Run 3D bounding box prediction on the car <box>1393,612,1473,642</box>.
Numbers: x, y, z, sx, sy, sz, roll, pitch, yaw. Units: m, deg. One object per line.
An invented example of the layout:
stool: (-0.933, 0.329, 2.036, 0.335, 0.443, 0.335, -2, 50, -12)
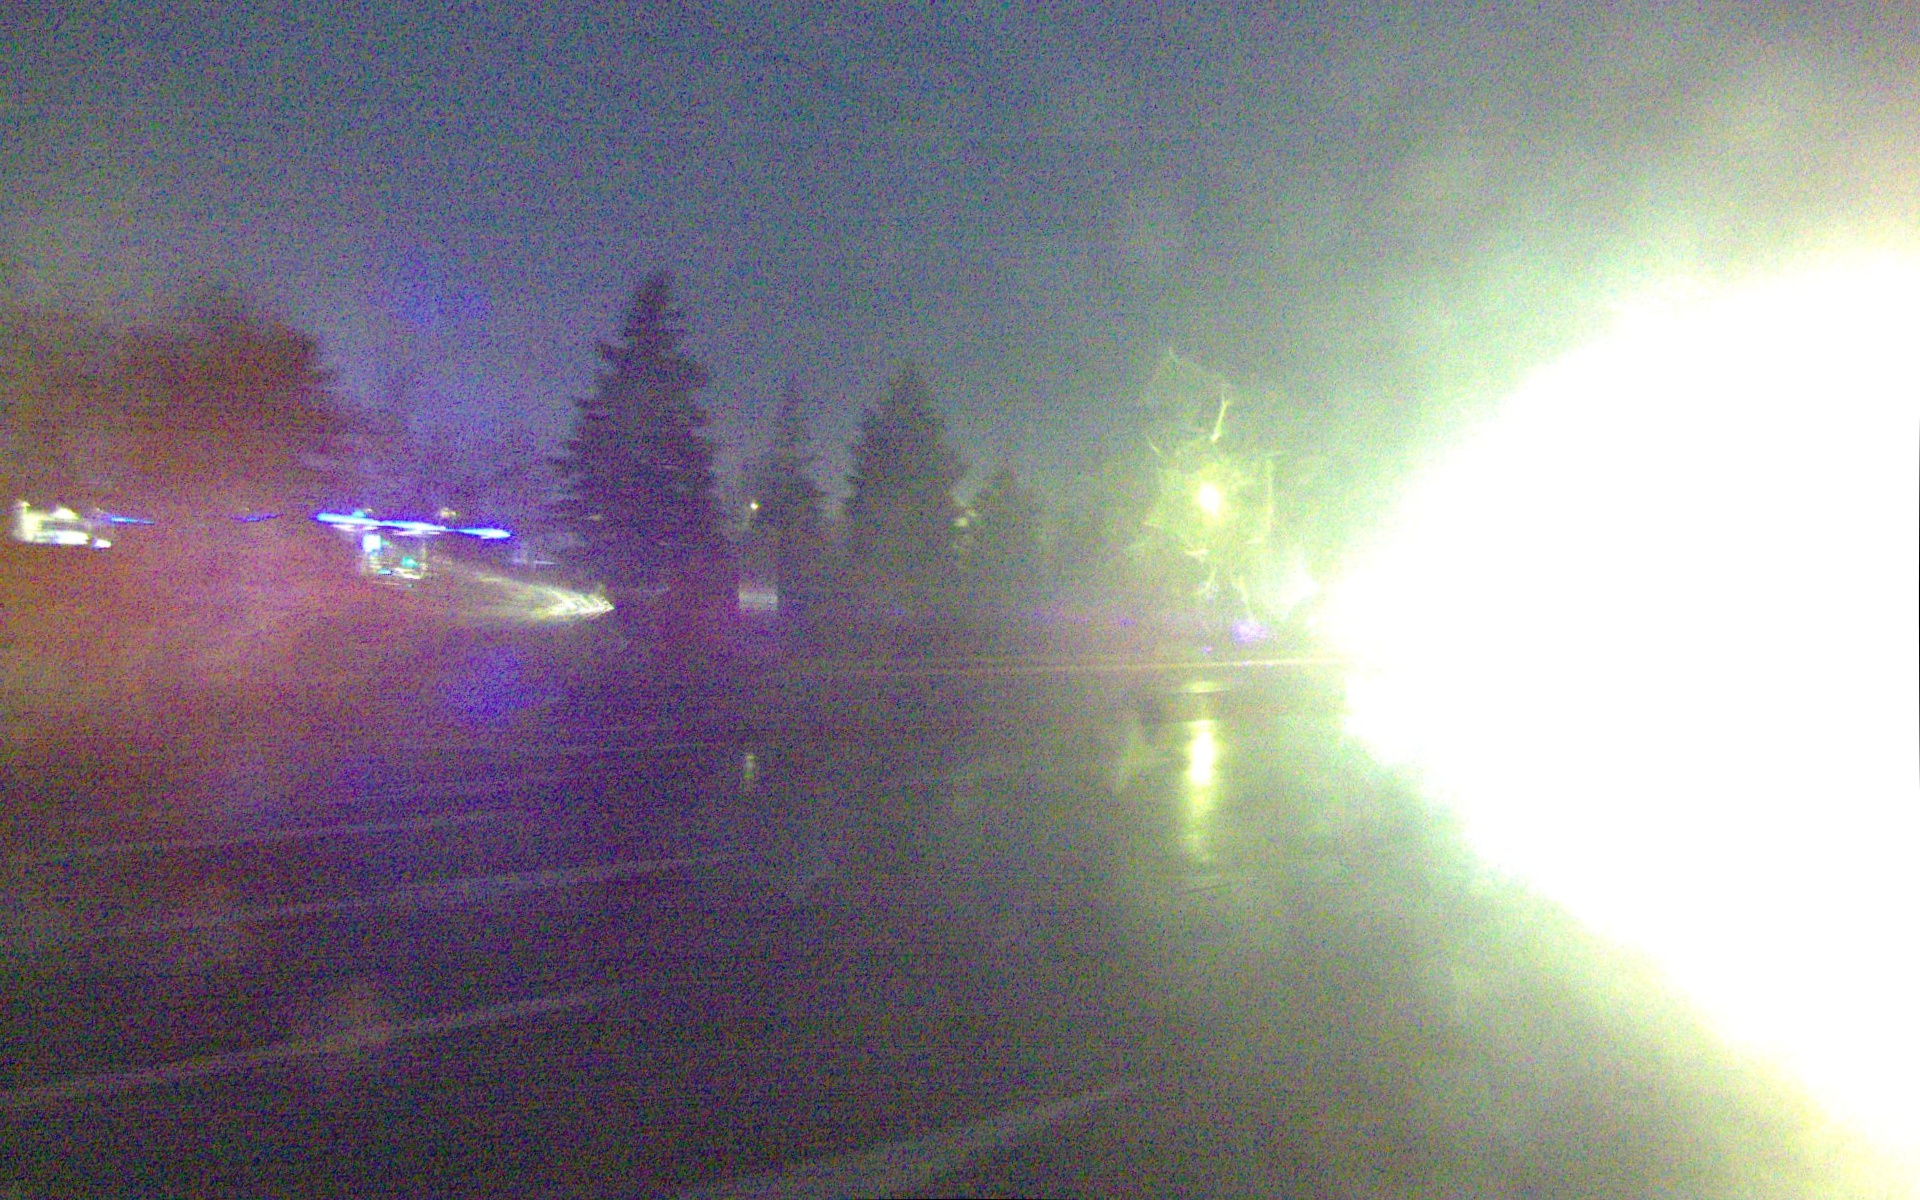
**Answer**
car: (28.814, 1.632, 61.174, 4.213, 1.649, 1.996, 2, 0, 31)
